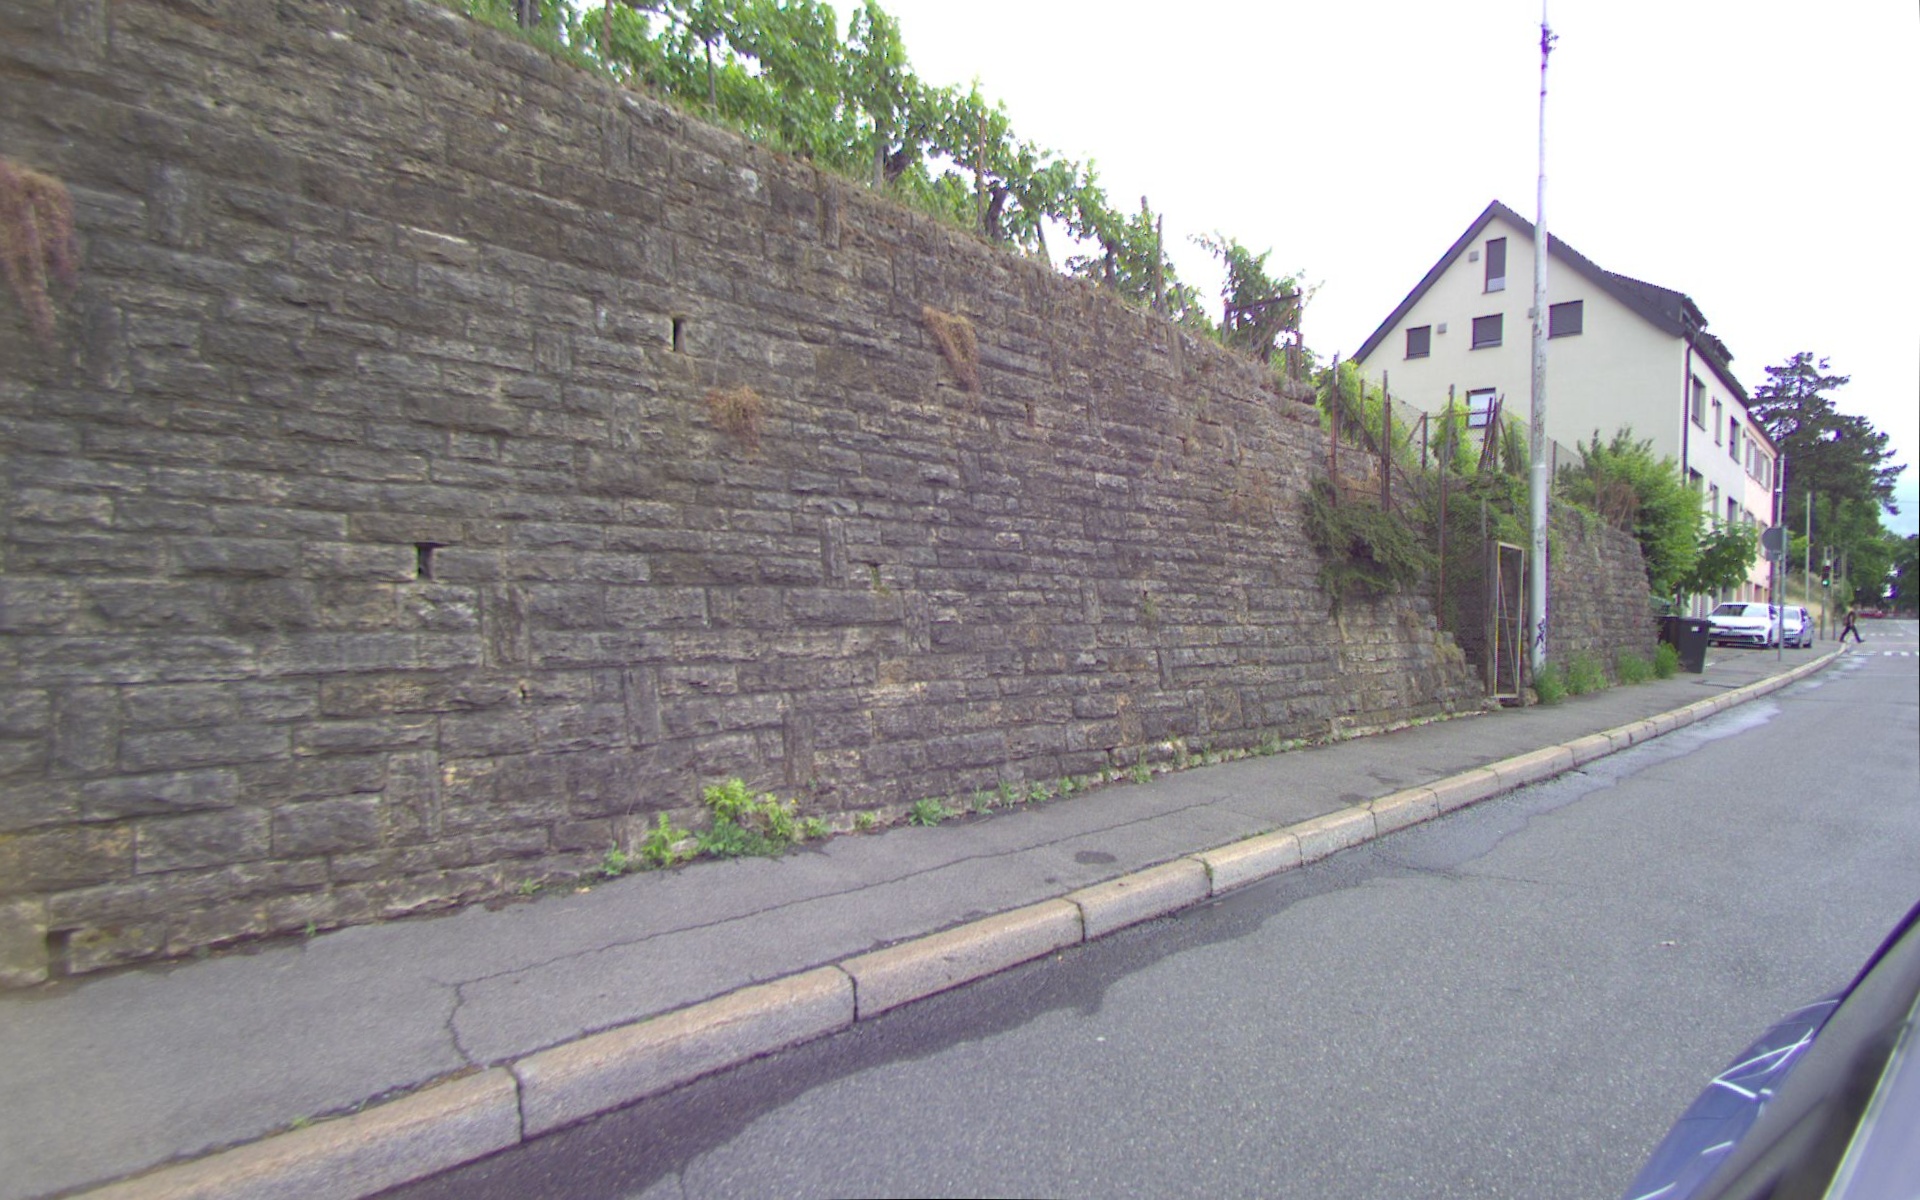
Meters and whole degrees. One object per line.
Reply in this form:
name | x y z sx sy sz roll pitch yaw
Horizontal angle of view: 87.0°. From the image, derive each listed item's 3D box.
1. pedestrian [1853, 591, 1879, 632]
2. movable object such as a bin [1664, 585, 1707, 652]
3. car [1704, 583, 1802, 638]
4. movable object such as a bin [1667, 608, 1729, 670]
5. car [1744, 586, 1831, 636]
pedestrian | 39.331 0.489 43.927 0.683 1.734 0.735 0 0 -39
movable object such as a bin | 17.433 0.437 24.321 0.750 1.562 1.049 0 -1 41
car | 24.955 0.292 31.797 3.987 1.595 1.796 -1 0 -43
movable object such as a bin | 14.162 0.728 19.426 0.860 1.141 0.810 0 0 -43
car | 28.518 0.343 34.830 4.177 1.595 1.729 -1 0 -43
